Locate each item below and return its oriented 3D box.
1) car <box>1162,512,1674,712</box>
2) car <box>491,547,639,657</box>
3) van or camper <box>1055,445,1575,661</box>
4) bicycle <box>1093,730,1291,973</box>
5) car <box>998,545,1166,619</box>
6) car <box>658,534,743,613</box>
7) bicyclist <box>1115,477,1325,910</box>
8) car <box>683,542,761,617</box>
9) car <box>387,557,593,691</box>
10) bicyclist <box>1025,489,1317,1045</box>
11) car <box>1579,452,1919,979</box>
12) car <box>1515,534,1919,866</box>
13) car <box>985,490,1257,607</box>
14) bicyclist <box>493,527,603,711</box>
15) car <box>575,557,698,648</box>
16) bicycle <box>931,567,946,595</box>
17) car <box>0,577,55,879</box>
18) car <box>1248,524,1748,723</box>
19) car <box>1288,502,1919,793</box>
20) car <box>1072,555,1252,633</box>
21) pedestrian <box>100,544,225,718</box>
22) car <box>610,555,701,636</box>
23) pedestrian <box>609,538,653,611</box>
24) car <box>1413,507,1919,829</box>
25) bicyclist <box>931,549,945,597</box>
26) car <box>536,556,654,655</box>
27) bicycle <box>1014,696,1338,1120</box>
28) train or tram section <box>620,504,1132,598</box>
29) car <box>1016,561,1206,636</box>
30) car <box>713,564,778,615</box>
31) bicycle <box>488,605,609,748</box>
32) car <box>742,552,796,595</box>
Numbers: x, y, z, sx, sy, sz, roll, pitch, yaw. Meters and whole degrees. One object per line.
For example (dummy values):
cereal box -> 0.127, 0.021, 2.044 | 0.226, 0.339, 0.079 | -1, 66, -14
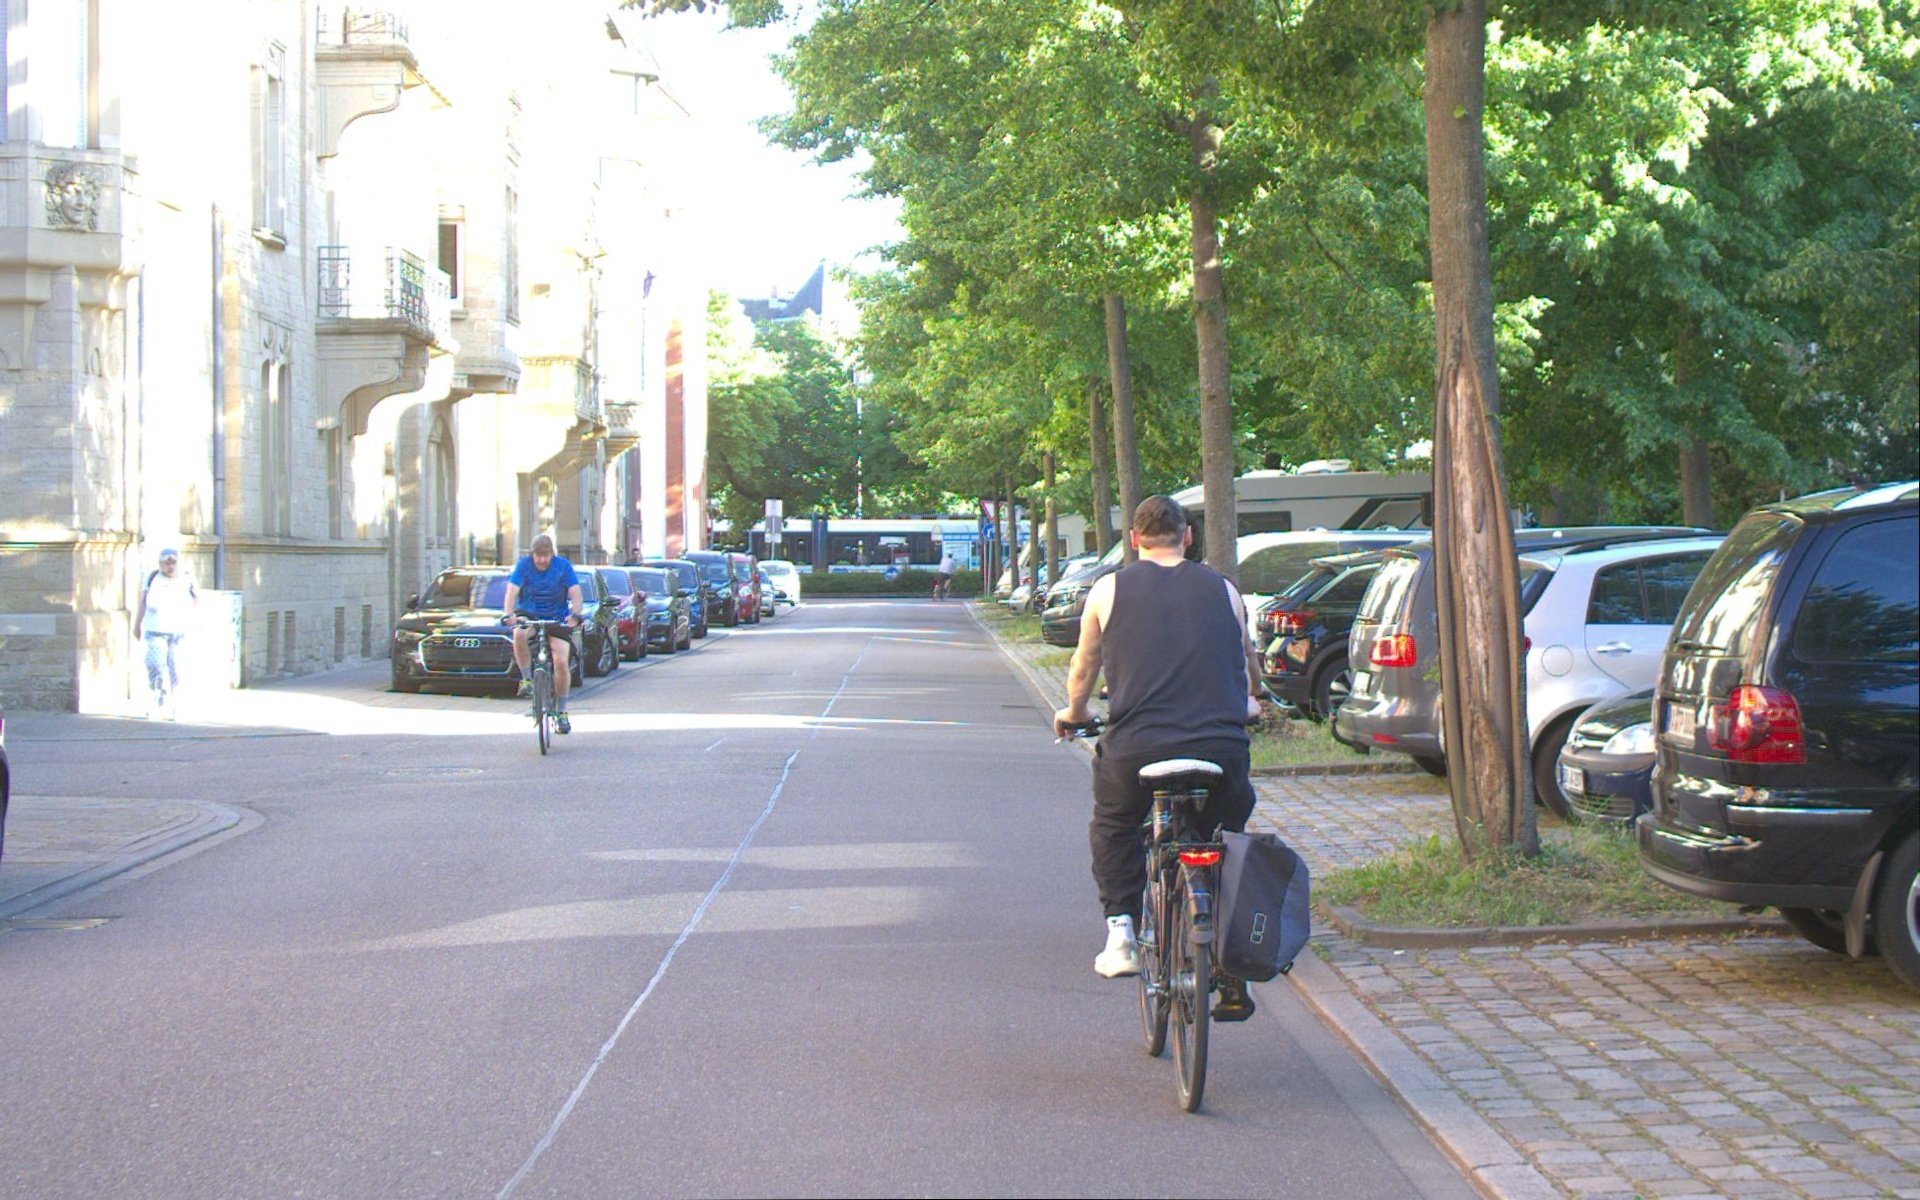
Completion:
car -> 4.306, 0.097, 32.844 | 4.619, 1.704, 1.833 | -2, 1, 1
car -> -5.388, 0.025, 47.266 | 1.696, 1.448, 4.028 | 0, 0, -2
van or camper -> 5.011, -0.671, 49.466 | 7.147, 2.638, 2.464 | -3, 1, 2
bicycle -> 0.893, 0.963, 13.604 | 0.633, 0.796, 1.832 | 0, 1, -1
car -> 3.074, -0.467, 87.114 | 4.082, 1.644, 1.641 | -3, 0, -2
car -> -6.190, -0.652, 82.430 | 1.640, 1.777, 4.354 | 2, 1, 0
bicyclist -> 1.007, 0.349, 13.513 | 0.689, 1.621, 0.998 | 2, 0, -1
car -> -6.152, -0.564, 89.211 | 1.689, 1.819, 4.273 | 2, 1, 0
car -> -5.539, 0.256, 41.063 | 1.811, 1.422, 4.898 | 2, 0, -1
bicyclist -> 0.604, 0.470, 10.122 | 0.730, 1.542, 0.884 | 2, 0, -2
car -> 4.662, 0.260, 12.066 | 4.581, 1.671, 1.907 | -3, 1, 2
car -> 4.754, 0.407, 16.868 | 3.721, 1.448, 1.589 | -3, 1, -1
car -> 4.382, -1.401, 94.413 | 7.146, 2.968, 2.465 | -2, 0, -3
bicyclist -> -3.314, 0.153, 27.713 | 0.759, 1.449, 0.949 | -1, 0, -1
car -> -5.610, 0.014, 60.102 | 1.675, 1.425, 4.550 | 2, 1, 0
bicycle -> -0.778, -0.684, 124.593 | 0.498, 1.002, 1.474 | 1, -1, -1
car -> -5.268, 0.575, 14.684 | 1.635, 1.406, 4.333 | 2, 0, 0
car -> 4.662, 0.183, 30.212 | 4.068, 1.471, 1.694 | -3, 1, 1
car -> 4.621, 0.264, 22.667 | 4.538, 1.628, 1.813 | -3, 1, -6
car -> 4.292, -0.112, 73.619 | 3.773, 1.594, 1.690 | 0, -1, 1
pedestrian -> -7.449, 0.275, 32.159 | 0.888, 1.572, 1.053 | -1, 1, 0
car -> -6.112, -0.106, 69.242 | 1.595, 1.484, 2.737 | 3, 1, -2
pedestrian -> -7.949, -0.604, 83.104 | 0.938, 1.736, 0.735 | 1, 0, 1
car -> 4.856, 0.321, 19.710 | 4.273, 1.628, 1.690 | -3, 1, 3
bicyclist -> -0.791, -0.968, 124.532 | 0.486, 1.738, 0.656 | 1, 0, -1
car -> -5.726, 0.062, 54.227 | 1.628, 1.448, 3.838 | 1, 1, -3
bicycle -> 0.590, 0.846, 10.105 | 0.737, 1.050, 1.956 | 2, 0, -2
train or tram section -> -3.732, -2.215, 160.198 | 23.799, 3.696, 4.287 | 1, 0, -22
car -> 3.327, -0.031, 76.085 | 4.139, 1.594, 1.702 | 0, -1, 1
car -> -6.239, -0.319, 100.353 | 1.583, 1.339, 4.131 | 2, 1, 0
bicycle -> -3.309, 0.595, 27.787 | 0.757, 1.104, 1.907 | -1, 0, -1
car -> -6.538, -0.923, 118.141 | 1.583, 1.371, 4.131 | 2, 1, 0
